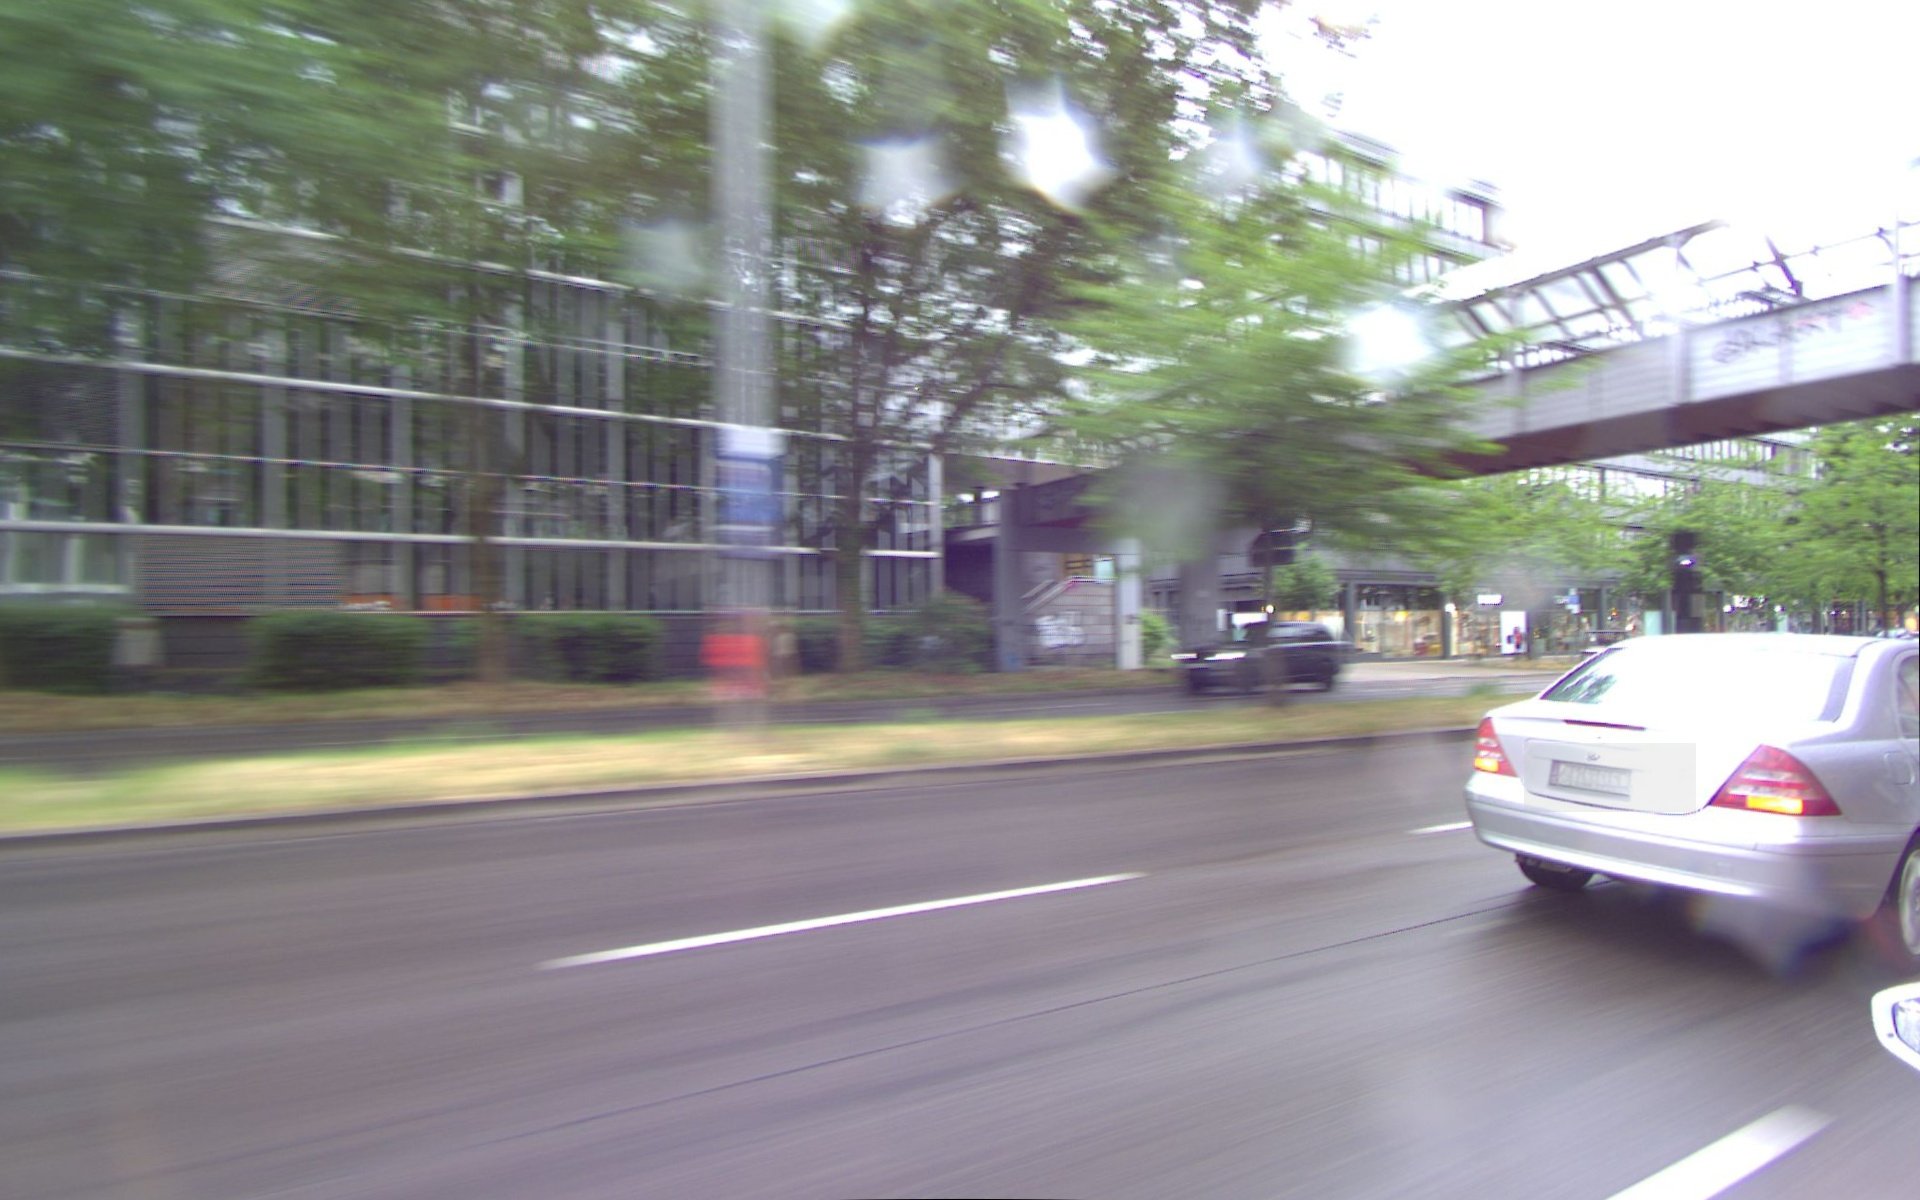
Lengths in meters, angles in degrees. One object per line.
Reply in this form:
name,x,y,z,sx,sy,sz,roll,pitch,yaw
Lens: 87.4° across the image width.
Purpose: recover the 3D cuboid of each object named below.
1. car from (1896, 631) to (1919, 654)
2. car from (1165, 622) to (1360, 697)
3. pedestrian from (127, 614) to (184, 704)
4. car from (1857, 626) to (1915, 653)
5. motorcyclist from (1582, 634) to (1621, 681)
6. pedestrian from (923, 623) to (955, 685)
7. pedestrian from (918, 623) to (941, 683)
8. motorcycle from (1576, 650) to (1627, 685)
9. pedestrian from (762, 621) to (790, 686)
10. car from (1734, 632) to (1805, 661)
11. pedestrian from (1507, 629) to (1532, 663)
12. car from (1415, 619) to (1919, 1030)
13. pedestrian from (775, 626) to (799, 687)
car,62.243,2.736,64.970,3.919,1.480,1.614,1,-1,-32
car,7.958,1.561,26.248,5.129,1.790,1.990,1,-5,-33
pedestrian,-16.786,1.215,20.978,0.793,1.831,0.731,0,-1,-30
car,57.036,2.415,61.832,4.185,1.632,1.614,1,-1,-32
motorcyclist,19.925,1.792,31.188,0.958,1.437,0.635,2,-2,-30
pedestrian,-0.633,1.621,30.351,0.751,1.831,0.593,0,-1,-30
pedestrian,-0.943,1.615,30.885,0.505,1.831,0.603,0,-1,-30
motorcycle,19.916,2.074,31.180,1.784,1.035,0.582,1,-2,-30
pedestrian,-5.334,1.531,29.075,0.610,1.831,0.719,0,-1,-30
car,42.967,2.466,53.282,4.397,1.451,1.615,2,-3,-32
pedestrian,29.506,2.417,52.988,1.045,1.738,0.739,1,-2,-31
car,4.598,0.895,5.509,4.309,1.498,1.664,2,-1,-30
pedestrian,-4.899,1.590,28.432,0.505,1.708,0.557,0,-1,-30
